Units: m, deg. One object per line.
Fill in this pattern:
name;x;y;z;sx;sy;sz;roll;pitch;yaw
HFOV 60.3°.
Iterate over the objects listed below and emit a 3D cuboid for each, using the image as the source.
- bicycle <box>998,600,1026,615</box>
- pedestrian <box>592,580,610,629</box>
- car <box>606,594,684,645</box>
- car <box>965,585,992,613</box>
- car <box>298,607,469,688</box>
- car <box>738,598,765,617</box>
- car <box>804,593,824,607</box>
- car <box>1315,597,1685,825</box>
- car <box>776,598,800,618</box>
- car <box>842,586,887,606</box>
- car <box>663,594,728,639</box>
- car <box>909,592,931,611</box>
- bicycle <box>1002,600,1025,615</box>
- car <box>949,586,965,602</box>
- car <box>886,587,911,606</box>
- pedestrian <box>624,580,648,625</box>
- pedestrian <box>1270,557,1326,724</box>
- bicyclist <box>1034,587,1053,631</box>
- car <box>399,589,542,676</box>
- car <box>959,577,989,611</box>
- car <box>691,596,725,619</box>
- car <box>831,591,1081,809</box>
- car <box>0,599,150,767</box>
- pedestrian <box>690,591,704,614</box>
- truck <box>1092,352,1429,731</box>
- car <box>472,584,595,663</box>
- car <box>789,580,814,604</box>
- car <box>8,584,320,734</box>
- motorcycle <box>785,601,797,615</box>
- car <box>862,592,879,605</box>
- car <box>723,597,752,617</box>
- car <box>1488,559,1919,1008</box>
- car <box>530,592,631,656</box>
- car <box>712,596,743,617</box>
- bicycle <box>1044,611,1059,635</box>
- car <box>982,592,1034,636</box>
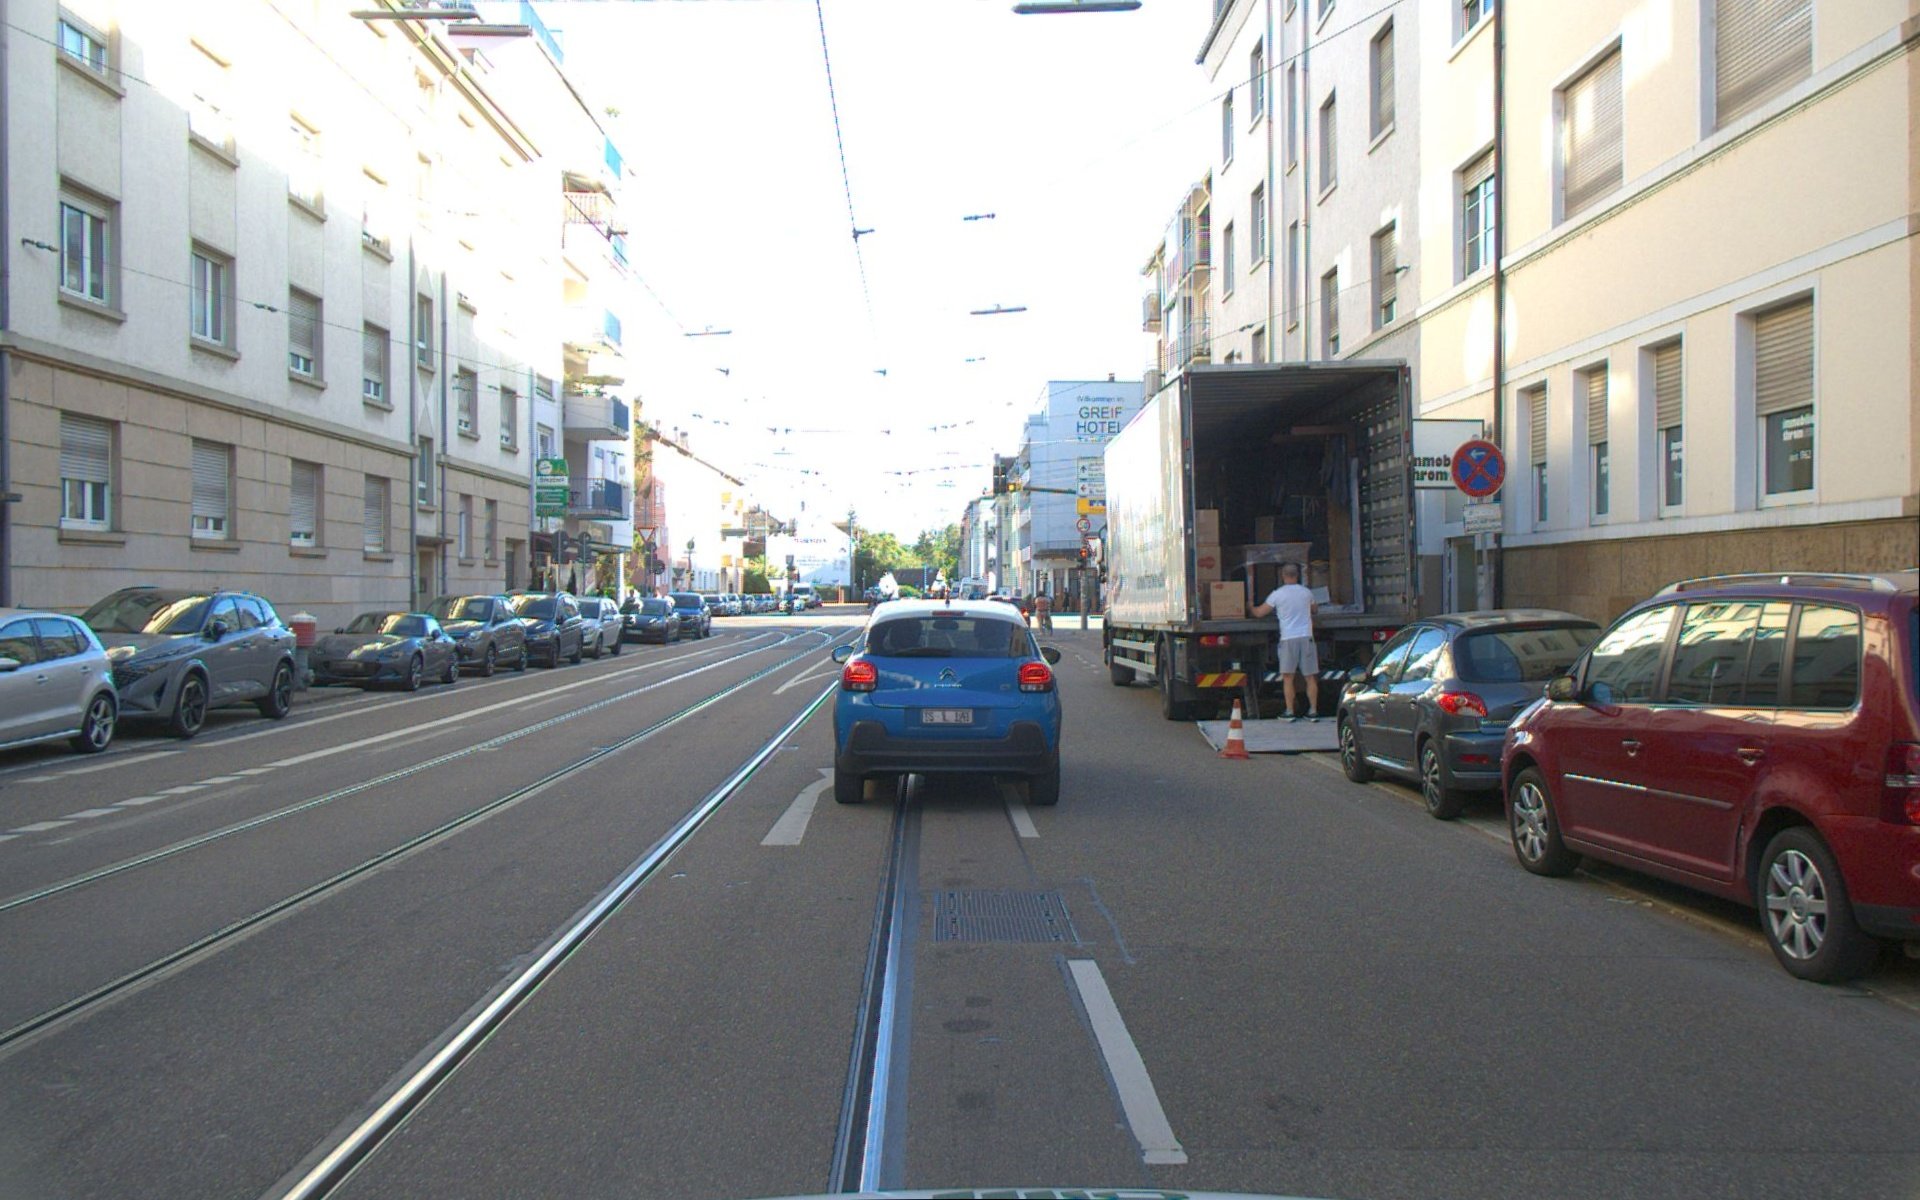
bicycle;3.492;0.477;110.393;1.834;0.973;0.702;0;0;4
pedestrian;-15.083;0.174;69.407;0.673;2.049;0.486;0;0;-4
car;-10.091;0.617;53.278;1.665;1.536;4.311;1;0;-1
car;1.223;-0.057;110.954;1.697;1.780;3.213;1;0;-1
car;-9.707;0.766;28.149;1.665;1.237;3.784;1;0;-2
car;-17.863;0.632;141.836;1.872;1.523;3.999;0;0;-2
car;-16.662;0.004;188.827;1.980;1.552;3.999;0;0;-2
car;4.089;0.750;13.186;1.550;1.489;3.879;-1;0;-2
car;-14.741;0.674;142.146;1.812;1.601;4.399;0;0;-2
car;-8.236;-0.317;141.863;1.800;1.668;3.937;-1;0;-43
car;-9.494;0.578;59.688;1.709;1.536;3.999;1;0;-1
car;-3.592;0.119;148.192;1.953;1.646;3.999;1;0;-1
bicycle;3.543;0.477;109.330;1.472;0.973;0.702;0;0;4
car;-0.272;-0.624;175.109;1.654;1.646;4.000;1;0;0
car;-4.947;-0.266;134.378;1.953;1.534;3.999;0;0;-1
pedestrian;-11.563;0.079;59.071;0.683;1.575;0.721;0;1;2
pedestrian;3.708;0.436;18.159;0.502;1.806;0.415;-1;0;-1
bicyclist;3.218;0.353;63.422;0.711;1.674;0.790;0;0;2
car;-9.749;0.627;33.216;1.665;1.596;3.999;1;0;-1
car;0.977;-0.405;115.885;1.953;2.366;3.999;1;0;-1
car;-17.185;0.502;112.939;1.873;1.458;3.997;0;0;-3
car;-0.150;0.690;13.476;1.709;1.488;3.997;1;0;-4
car;-9.395;0.735;15.434;1.665;1.440;3.999;3;0;-1
pedestrian;-19.403;0.183;122.025;0.826;1.720;0.738;0;0;5
truck;3.787;-0.683;24.126;2.801;4.144;11.779;-1;0;0
car;-9.587;0.513;37.494;1.665;1.644;4.243;1;0;-1
car;-15.632;-0.787;163.156;2.162;2.290;4.675;0;0;-2
car;-9.445;0.620;20.063;1.664;1.595;4.405;-1;0;-1
motorcycle;-11.348;0.533;111.172;0.603;0.879;1.671;0;0;2
car;-11.531;-0.202;213.415;1.980;1.552;3.999;0;0;-2
car;-17.502;0.525;130.100;1.872;1.523;3.999;0;0;-2
car;4.145;0.639;8.022;1.560;1.637;4.244;-1;0;-4
car;-9.834;0.600;43.154;1.665;1.536;4.385;1;0;-1
car;-17.302;0.458;123.304;1.872;1.523;3.999;0;0;-2
bicycle;3.500;0.890;63.491;0.488;0.879;1.749;0;0;0
car;1.665;0.468;56.862;1.702;1.445;4.001;0;0;2
